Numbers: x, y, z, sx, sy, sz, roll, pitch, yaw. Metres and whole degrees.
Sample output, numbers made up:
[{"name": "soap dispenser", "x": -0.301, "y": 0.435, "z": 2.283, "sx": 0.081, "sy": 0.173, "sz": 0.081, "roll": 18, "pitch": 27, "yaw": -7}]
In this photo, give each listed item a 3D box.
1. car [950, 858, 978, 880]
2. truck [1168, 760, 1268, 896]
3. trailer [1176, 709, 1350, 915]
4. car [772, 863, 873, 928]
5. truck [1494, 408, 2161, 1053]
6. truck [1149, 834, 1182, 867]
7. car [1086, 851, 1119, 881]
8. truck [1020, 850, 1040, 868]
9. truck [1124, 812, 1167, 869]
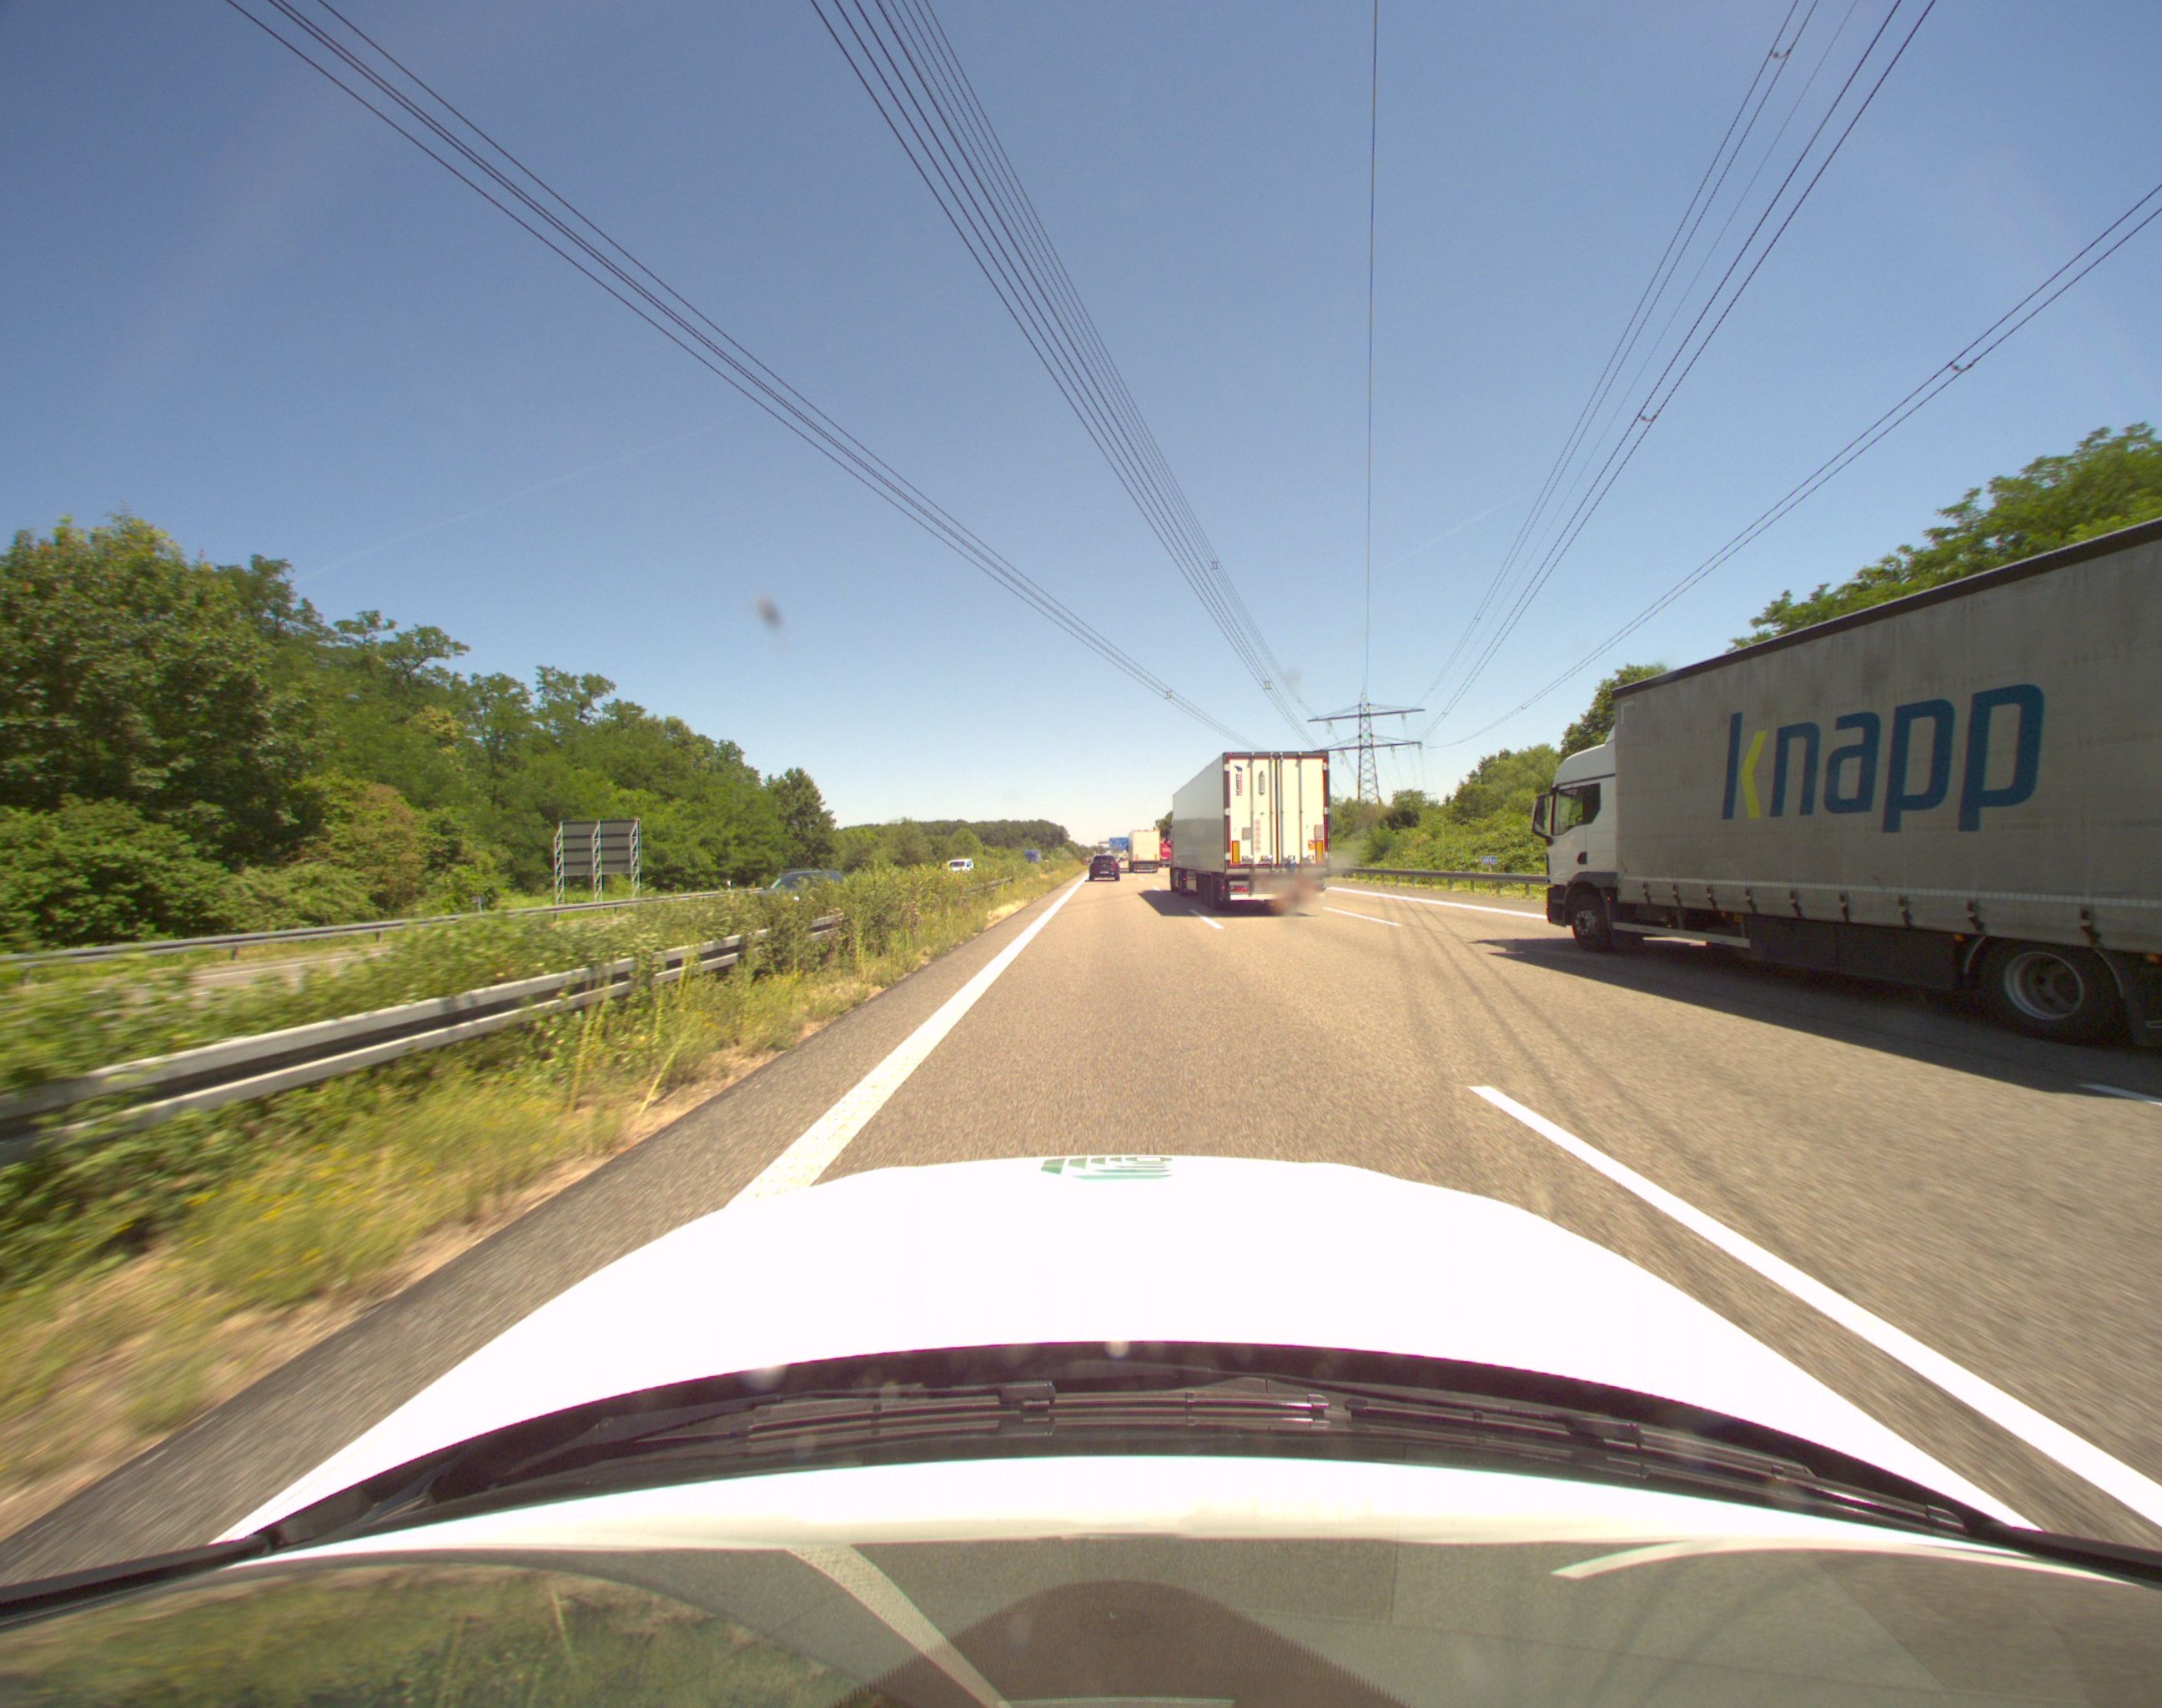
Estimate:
[{"name": "car", "x": -11.020, "y": 1.415, "z": 76.933, "sx": 1.986, "sy": 2.014, "sz": 4.001, "roll": 0, "pitch": 0, "yaw": 2}, {"name": "truck", "x": 5.260, "y": -0.927, "z": 32.585, "sx": 3.075, "sy": 4.885, "sz": 6.600, "roll": 0, "pitch": 0, "yaw": 2}, {"name": "trailer", "x": 5.034, "y": -0.969, "z": 25.476, "sx": 3.075, "sy": 4.885, "sz": 12.262, "roll": 0, "pitch": 0, "yaw": 2}, {"name": "car", "x": -8.579, "y": 1.316, "z": 27.394, "sx": 1.986, "sy": 2.014, "sz": 4.001, "roll": 0, "pitch": 0, "yaw": 2}, {"name": "truck", "x": 8.943, "y": -0.798, "z": 8.464, "sx": 3.558, "sy": 4.245, "sz": 11.653, "roll": 0, "pitch": 0, "yaw": 1}, {"name": "truck", "x": 12.197, "y": -0.439, "z": 118.754, "sx": 3.500, "sy": 4.492, "sz": 13.252, "roll": -1, "pitch": 0, "yaw": 1}, {"name": "car", "x": 1.364, "y": 0.749, "z": 53.161, "sx": 1.987, "sy": 1.772, "sz": 3.999, "roll": -2, "pitch": 0, "yaw": 0}, {"name": "truck", "x": -11.329, "y": 1.082, "z": 182.569, "sx": 3.500, "sy": 3.769, "sz": 12.044, "roll": -1, "pitch": 0, "yaw": 1}, {"name": "truck", "x": 6.186, "y": -1.228, "z": 80.031, "sx": 3.500, "sy": 5.166, "sz": 10.259, "roll": -1, "pitch": 0, "yaw": 1}]
